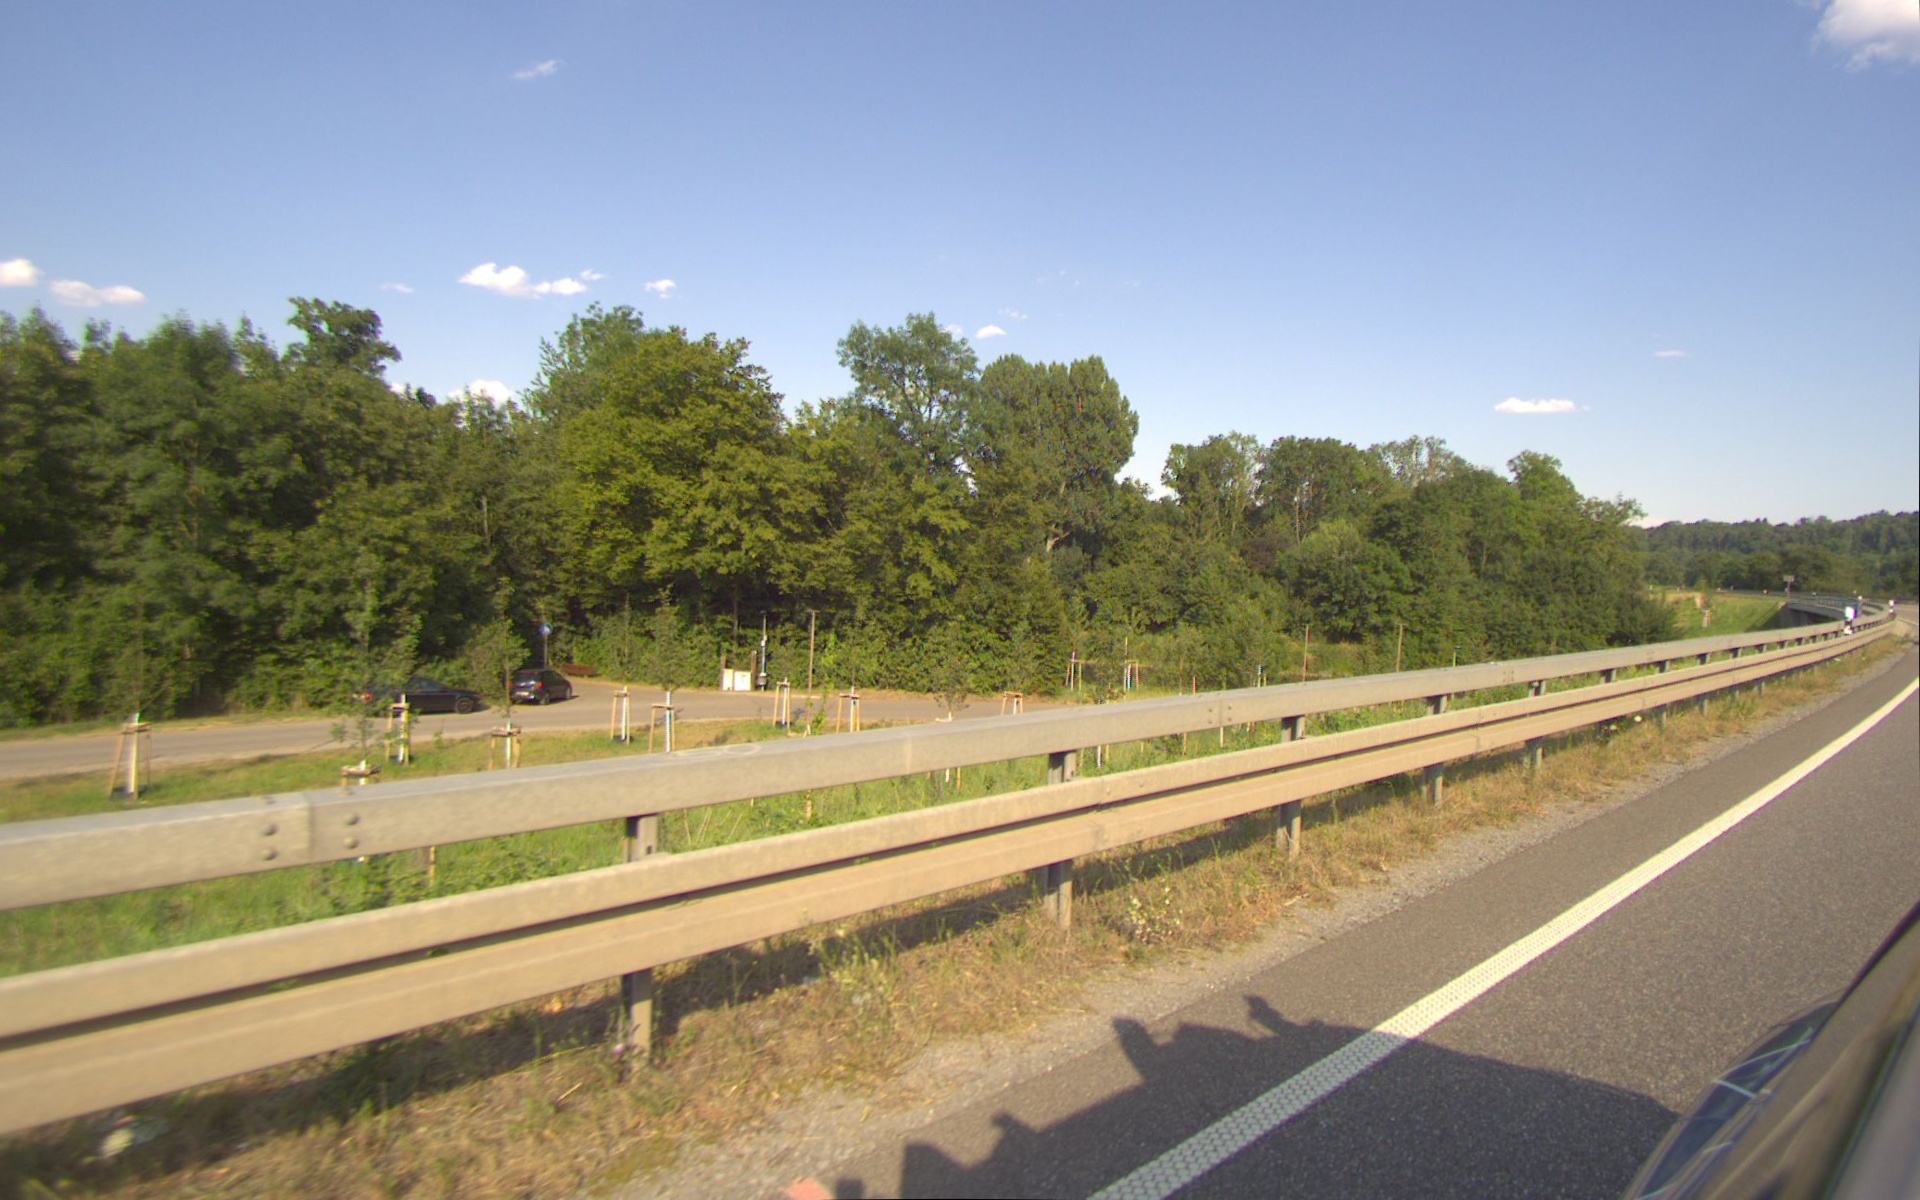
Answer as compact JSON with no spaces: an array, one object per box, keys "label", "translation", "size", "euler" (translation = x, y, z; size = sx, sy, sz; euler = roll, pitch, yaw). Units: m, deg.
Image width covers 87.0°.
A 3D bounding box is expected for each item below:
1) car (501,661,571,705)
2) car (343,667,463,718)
[{"label":"car","translation":[-18.397,3.570,44.055],"size":[1.627,1.515,3.687],"euler":[1,2,-3]},{"label":"car","translation":[-21.387,3.523,38.953],"size":[3.766,1.515,1.656],"euler":[-1,2,-44]}]
